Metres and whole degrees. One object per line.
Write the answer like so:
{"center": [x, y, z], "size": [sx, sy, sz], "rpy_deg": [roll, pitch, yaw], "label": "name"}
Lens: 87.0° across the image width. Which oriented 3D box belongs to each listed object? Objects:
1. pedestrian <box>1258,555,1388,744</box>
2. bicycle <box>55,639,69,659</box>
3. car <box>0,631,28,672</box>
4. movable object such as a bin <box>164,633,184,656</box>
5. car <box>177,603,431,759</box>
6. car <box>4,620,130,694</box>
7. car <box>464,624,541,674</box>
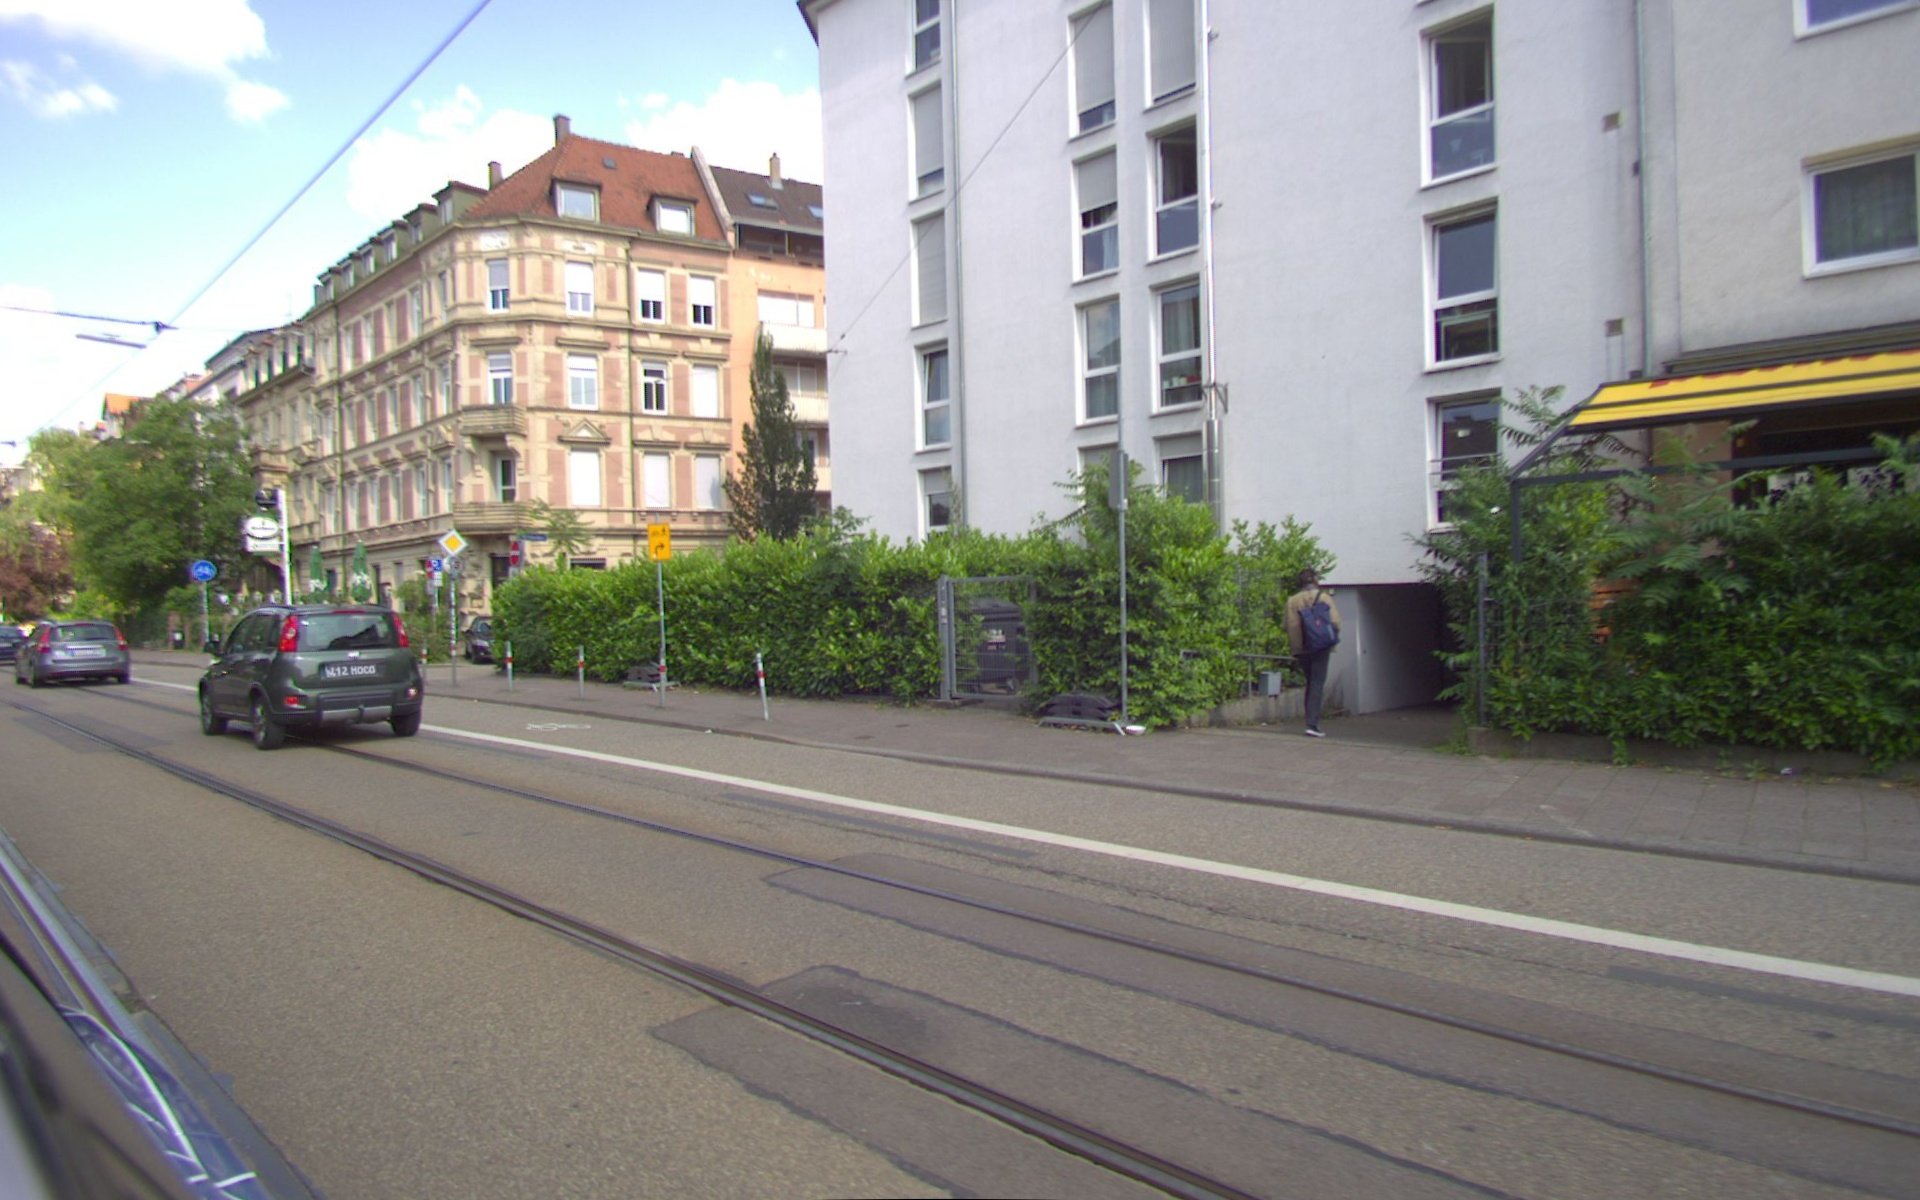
{"center": [3.951, 0.513, 11.018], "size": [1.062, 1.932, 0.818], "rpy_deg": [-2, 0, 41], "label": "pedestrian"}
{"center": [-55.596, 3.025, 62.640], "size": [1.818, 1.146, 0.408], "rpy_deg": [-2, 0, 41], "label": "bicycle"}
{"center": [-35.075, 1.865, 36.575], "size": [4.127, 1.417, 1.611], "rpy_deg": [-2, 0, 41], "label": "car"}
{"center": [-34.196, 1.937, 44.042], "size": [0.640, 0.932, 0.572], "rpy_deg": [-2, 0, 41], "label": "movable object such as a bin"}
{"center": [-8.018, 0.873, 12.236], "size": [3.820, 1.568, 1.614], "rpy_deg": [-2, 0, 42], "label": "car"}
{"center": [-20.925, 1.280, 23.660], "size": [4.275, 1.552, 1.709], "rpy_deg": [-2, -1, 41], "label": "car"}
{"center": [-14.852, 1.524, 32.706], "size": [1.861, 1.375, 4.978], "rpy_deg": [-2, 0, -28], "label": "car"}
